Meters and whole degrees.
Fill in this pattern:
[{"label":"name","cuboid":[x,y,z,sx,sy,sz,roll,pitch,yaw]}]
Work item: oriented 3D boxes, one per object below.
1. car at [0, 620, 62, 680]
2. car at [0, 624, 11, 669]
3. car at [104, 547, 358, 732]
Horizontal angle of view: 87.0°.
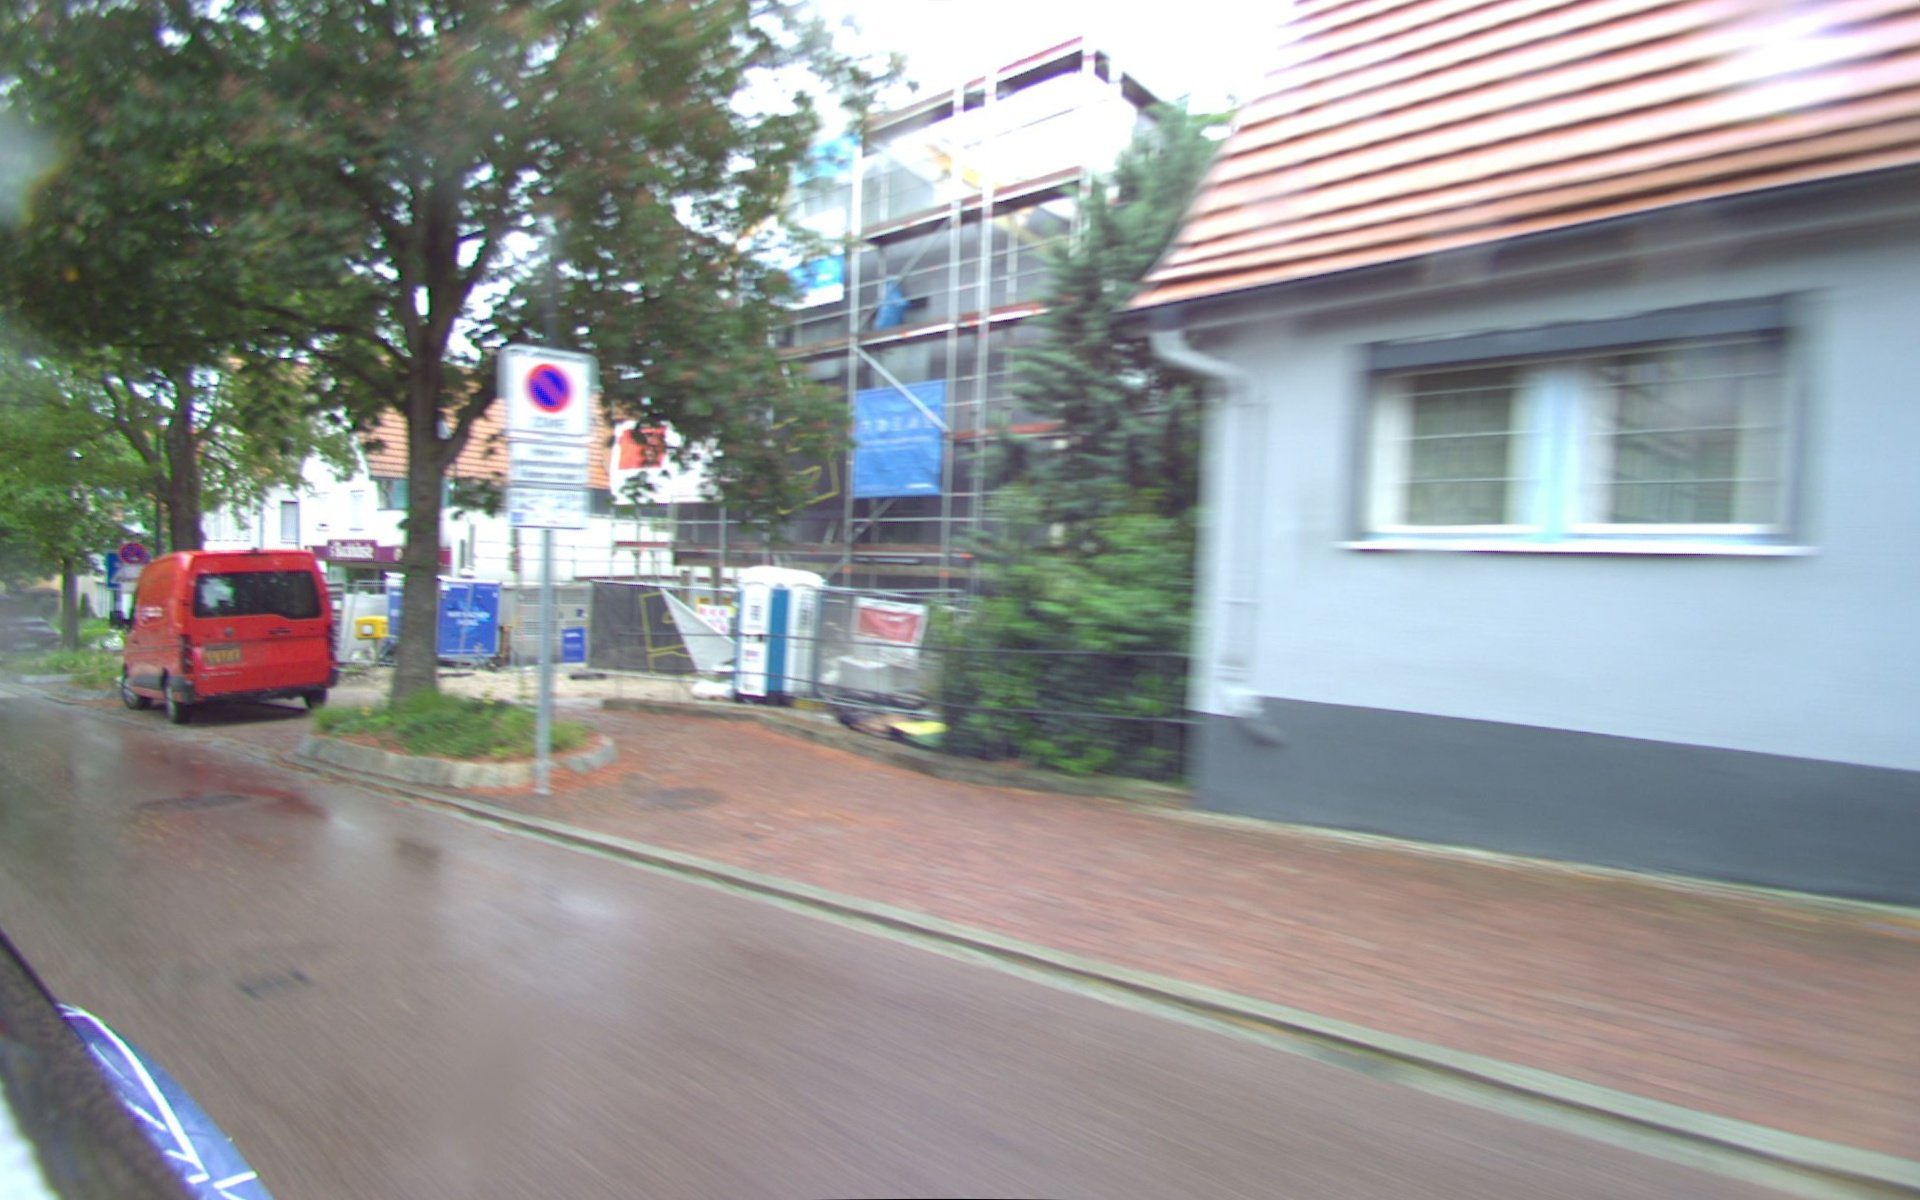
[{"label":"car","cuboid":[-27.249,1.415,28.873,3.995,1.565,1.754,-1,1,39]},{"label":"car","cuboid":[-34.327,1.619,35.180,3.864,1.544,1.629,-1,0,42]},{"label":"car","cuboid":[-12.031,0.608,16.495,5.784,2.502,2.278,-2,-1,43]}]
